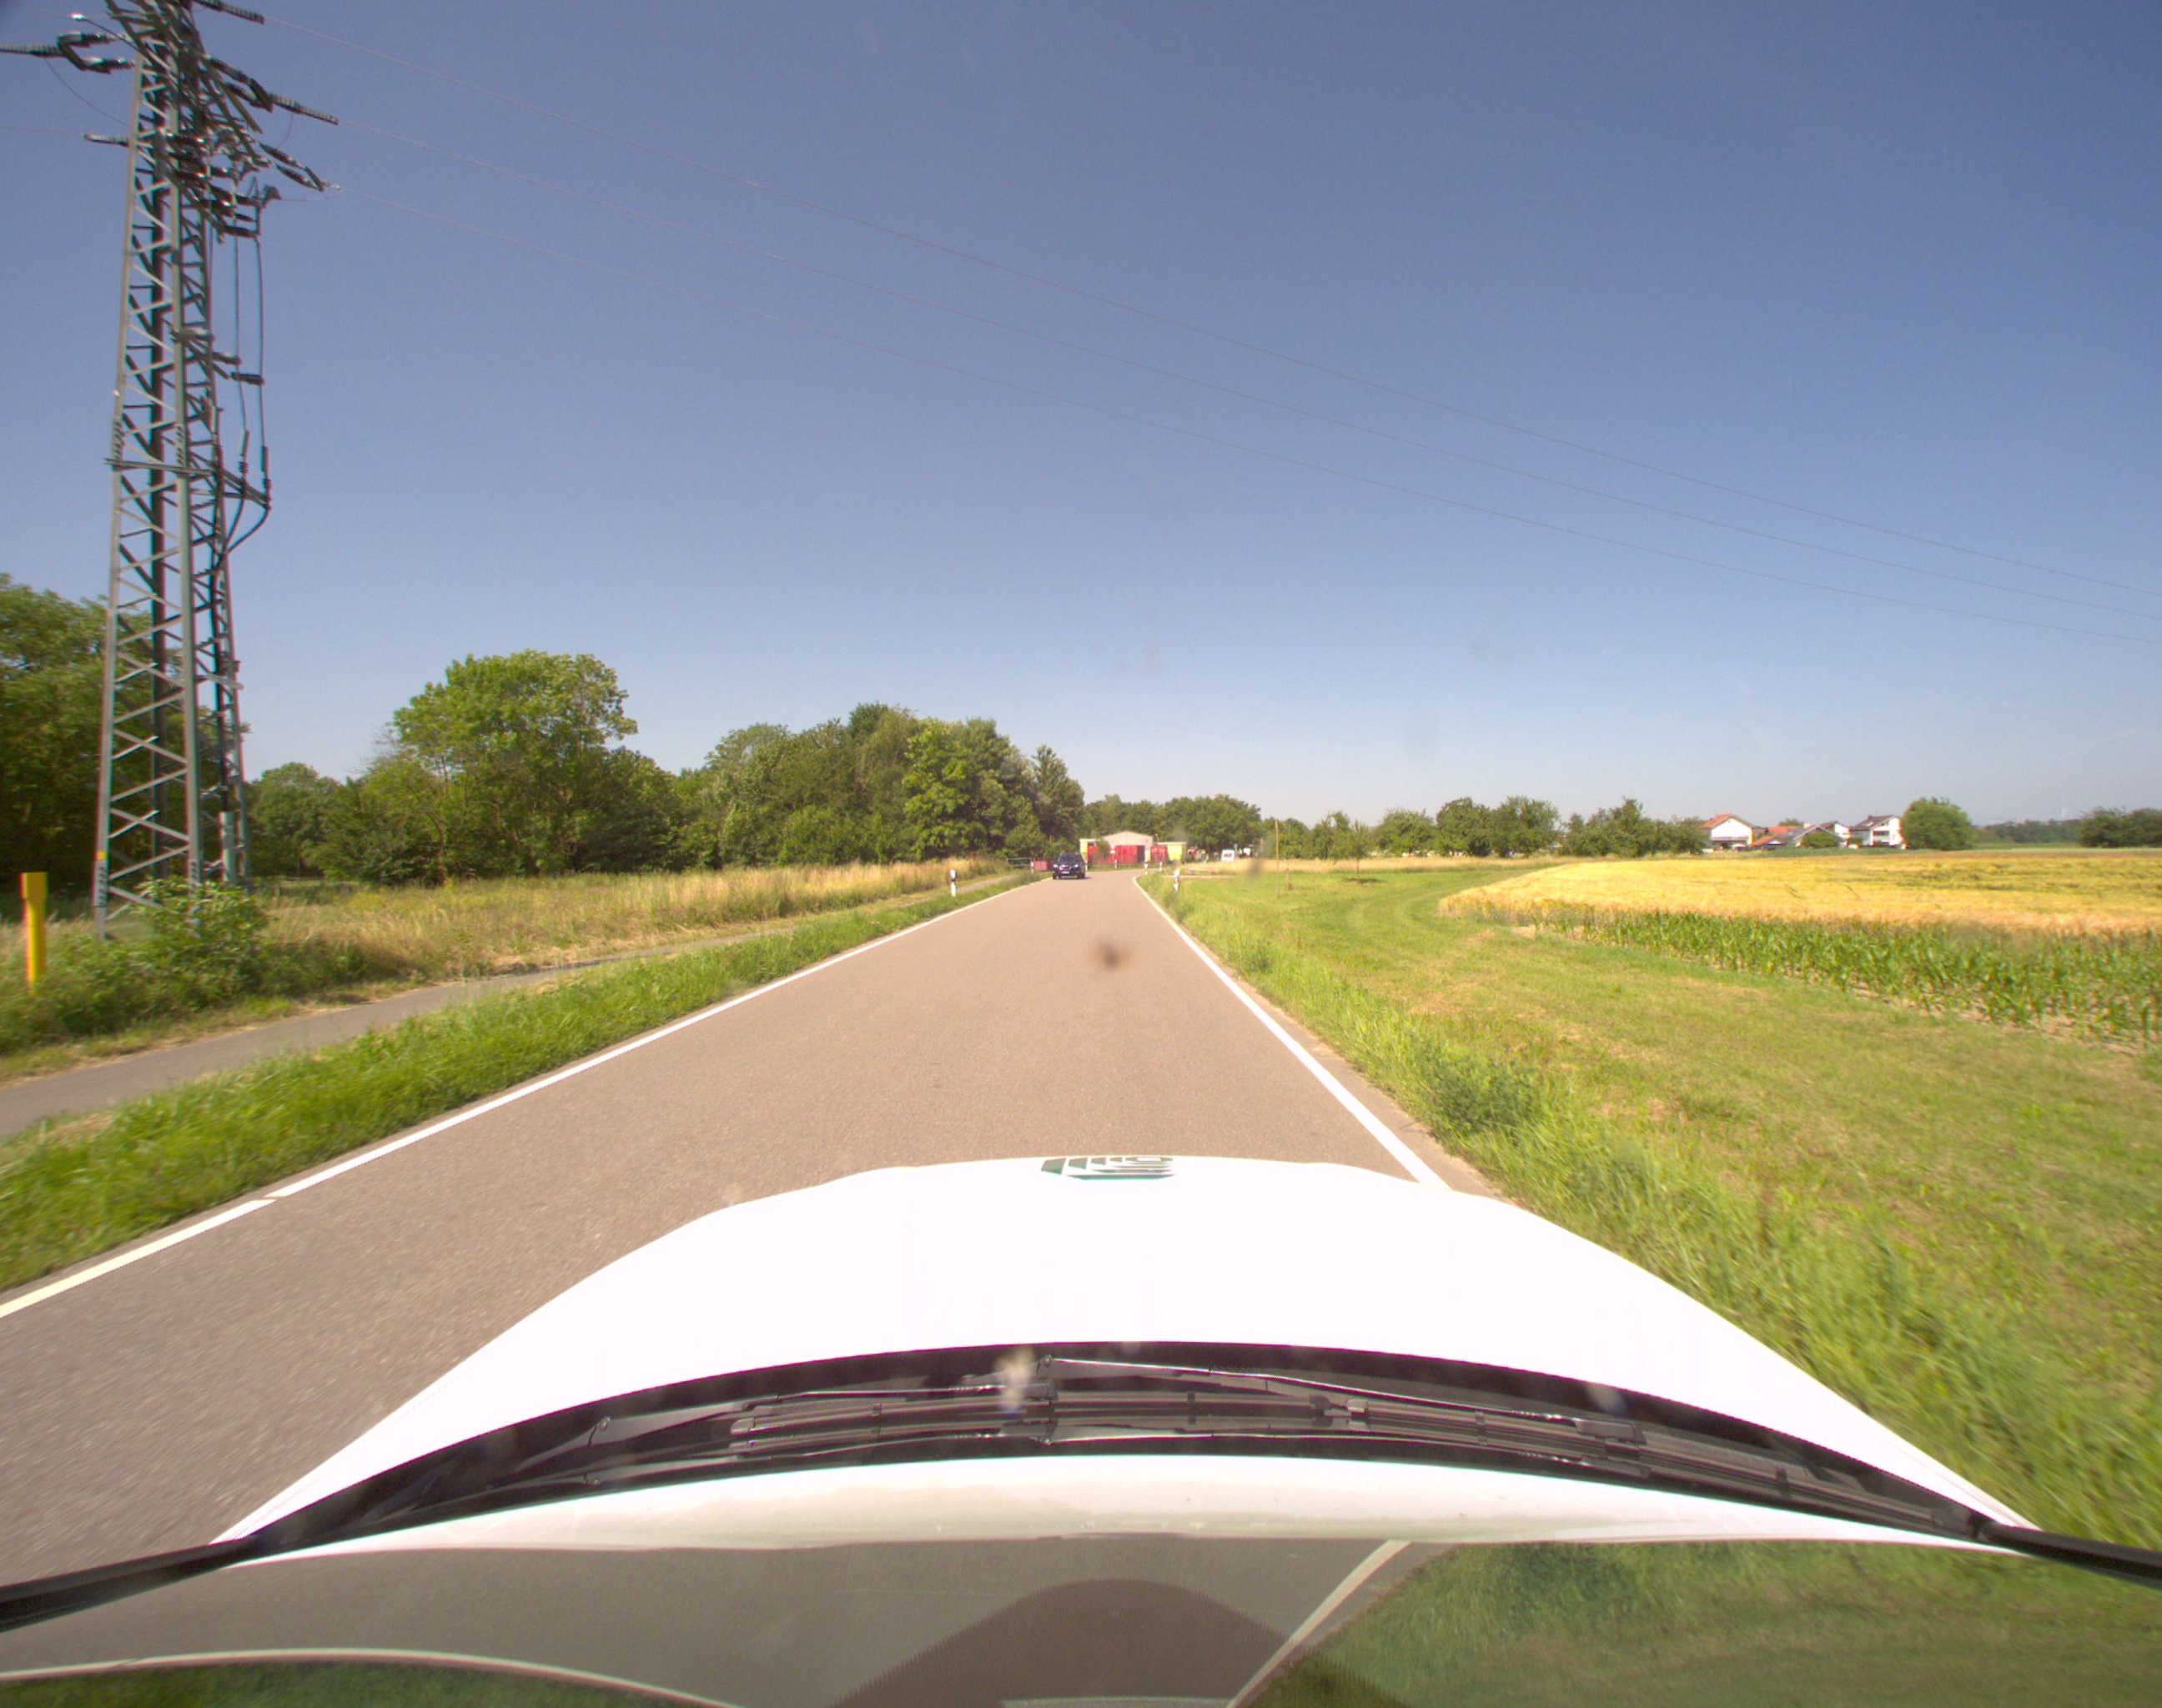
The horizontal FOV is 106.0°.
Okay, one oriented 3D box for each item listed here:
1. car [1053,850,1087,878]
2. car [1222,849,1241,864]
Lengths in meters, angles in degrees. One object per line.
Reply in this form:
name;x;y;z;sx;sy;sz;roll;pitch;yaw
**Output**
car;-0.695;0.665;54.834;1.856;1.753;4.303;-1;0;5
car;23.537;0.365;127.445;1.976;2.266;4.752;-1;0;22
